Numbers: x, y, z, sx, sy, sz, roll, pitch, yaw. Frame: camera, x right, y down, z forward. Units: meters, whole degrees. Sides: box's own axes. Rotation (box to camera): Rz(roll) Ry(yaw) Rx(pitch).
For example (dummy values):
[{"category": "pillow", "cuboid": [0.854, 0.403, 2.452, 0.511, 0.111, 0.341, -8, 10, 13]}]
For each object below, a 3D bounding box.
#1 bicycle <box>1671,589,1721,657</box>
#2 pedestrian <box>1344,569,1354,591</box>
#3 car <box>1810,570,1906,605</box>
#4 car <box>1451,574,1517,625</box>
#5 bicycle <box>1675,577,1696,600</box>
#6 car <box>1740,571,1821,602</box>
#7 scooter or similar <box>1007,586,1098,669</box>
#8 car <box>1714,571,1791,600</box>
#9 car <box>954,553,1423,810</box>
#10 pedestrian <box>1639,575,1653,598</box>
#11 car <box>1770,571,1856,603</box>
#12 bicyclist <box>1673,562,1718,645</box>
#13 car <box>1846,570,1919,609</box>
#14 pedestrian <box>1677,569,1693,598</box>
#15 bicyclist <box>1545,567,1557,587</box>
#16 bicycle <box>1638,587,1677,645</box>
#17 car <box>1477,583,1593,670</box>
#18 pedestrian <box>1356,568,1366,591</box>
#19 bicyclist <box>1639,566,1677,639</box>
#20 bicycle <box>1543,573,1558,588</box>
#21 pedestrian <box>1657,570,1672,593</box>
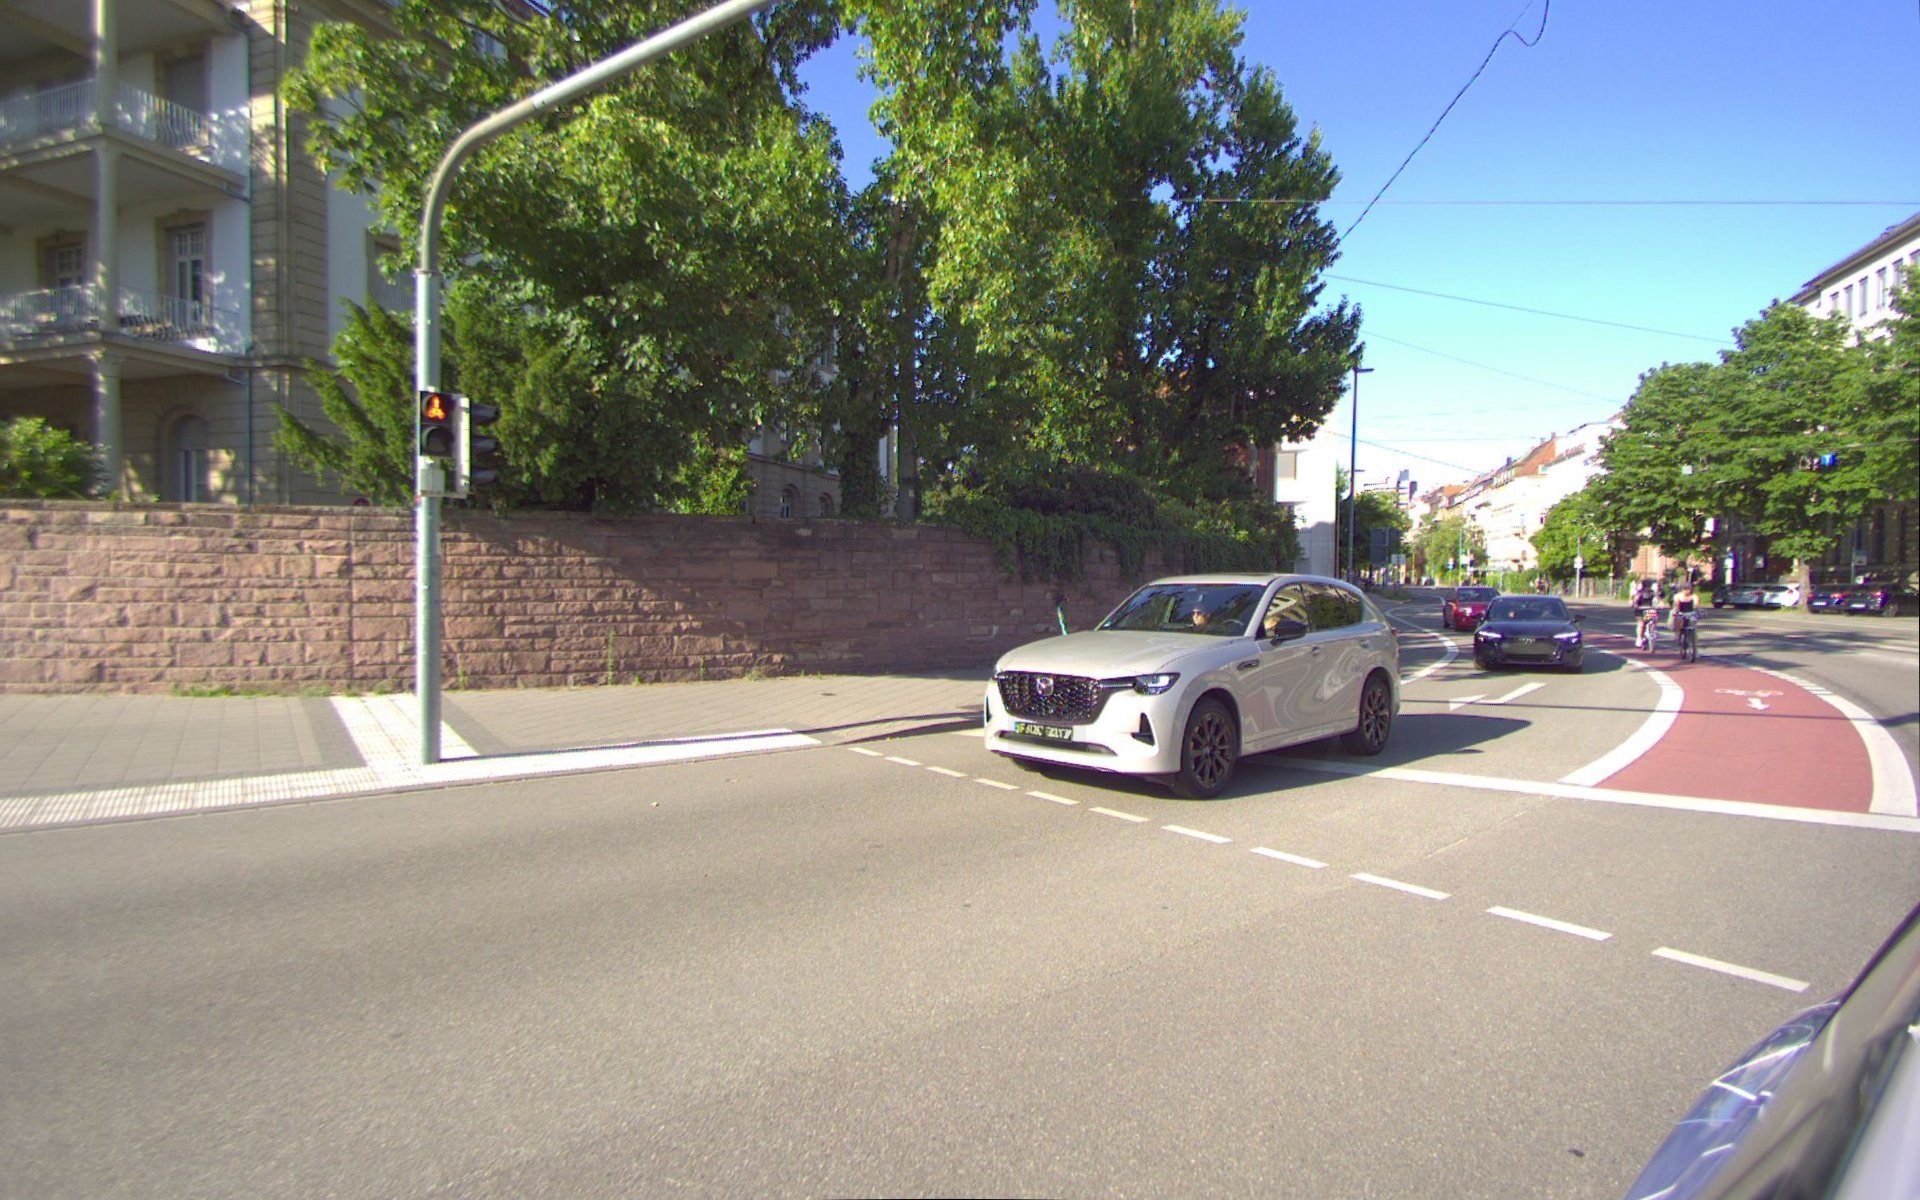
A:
[{"category": "bicycle", "cuboid": [15.231, 0.437, 20.977, 0.671, 1.266, 2.428, 1, 2, 33]}, {"category": "pedestrian", "cuboid": [29.388, -1.527, 76.443, 0.667, 1.668, 0.812, 0, 1, 21]}, {"category": "car", "cuboid": [43.089, -0.600, 48.561, 3.574, 1.580, 1.653, -2, 1, -13]}, {"category": "car", "cuboid": [17.277, -0.056, 33.494, 1.631, 1.580, 3.622, -1, 1, 23]}, {"category": "bicycle", "cuboid": [41.539, -0.660, 57.969, 0.670, 1.266, 2.432, 0, 1, 29]}, {"category": "car", "cuboid": [45.558, -0.765, 56.222, 3.574, 1.580, 1.653, -2, 1, -13]}, {"category": "scooter or similar", "cuboid": [1.515, 0.427, 16.566, 1.395, 1.285, 0.577, 0, 1, -29]}, {"category": "car", "cuboid": [46.594, -0.865, 59.524, 3.574, 1.580, 1.653, -2, 1, -13]}, {"category": "car", "cuboid": [2.228, 0.481, 9.004, 4.457, 1.713, 1.942, -2, 1, -44]}, {"category": "pedestrian", "cuboid": [49.319, -0.991, 72.782, 0.667, 1.668, 0.812, 0, 1, 21]}, {"category": "car", "cuboid": [45.341, -0.705, 53.794, 3.574, 1.580, 1.653, -2, 1, -13]}, {"category": "bicyclist", "cuboid": [15.228, 0.054, 20.963, 0.671, 1.667, 1.017, 1, 2, 33]}, {"category": "car", "cuboid": [42.656, -0.516, 45.768, 4.094, 1.651, 1.850, -2, 1, -13]}, {"category": "pedestrian", "cuboid": [41.543, -0.947, 57.980, 0.670, 1.668, 0.809, 0, 1, 29]}, {"category": "bicyclist", "cuboid": [49.642, -1.955, 85.022, 0.667, 1.667, 1.022, 1, 1, 21]}, {"category": "bicycle", "cuboid": [16.436, 0.351, 23.875, 0.671, 1.266, 2.428, 1, 2, 33]}, {"category": "car", "cuboid": [11.226, 0.440, 19.734, 1.775, 1.451, 3.957, -1, 1, 31]}, {"category": "pedestrian", "cuboid": [30.164, -1.542, 76.191, 0.667, 1.668, 0.812, 0, 1, 21]}, {"category": "bicyclist", "cuboid": [16.347, 0.036, 23.732, 0.671, 1.667, 1.017, 1, 2, 33]}, {"category": "bicycle", "cuboid": [49.654, -1.647, 85.109, 0.668, 1.266, 2.440, 1, 2, 20]}, {"category": "pedestrian", "cuboid": [50.601, -1.349, 72.675, 0.667, 1.668, 0.812, 0, 1, 21]}]
